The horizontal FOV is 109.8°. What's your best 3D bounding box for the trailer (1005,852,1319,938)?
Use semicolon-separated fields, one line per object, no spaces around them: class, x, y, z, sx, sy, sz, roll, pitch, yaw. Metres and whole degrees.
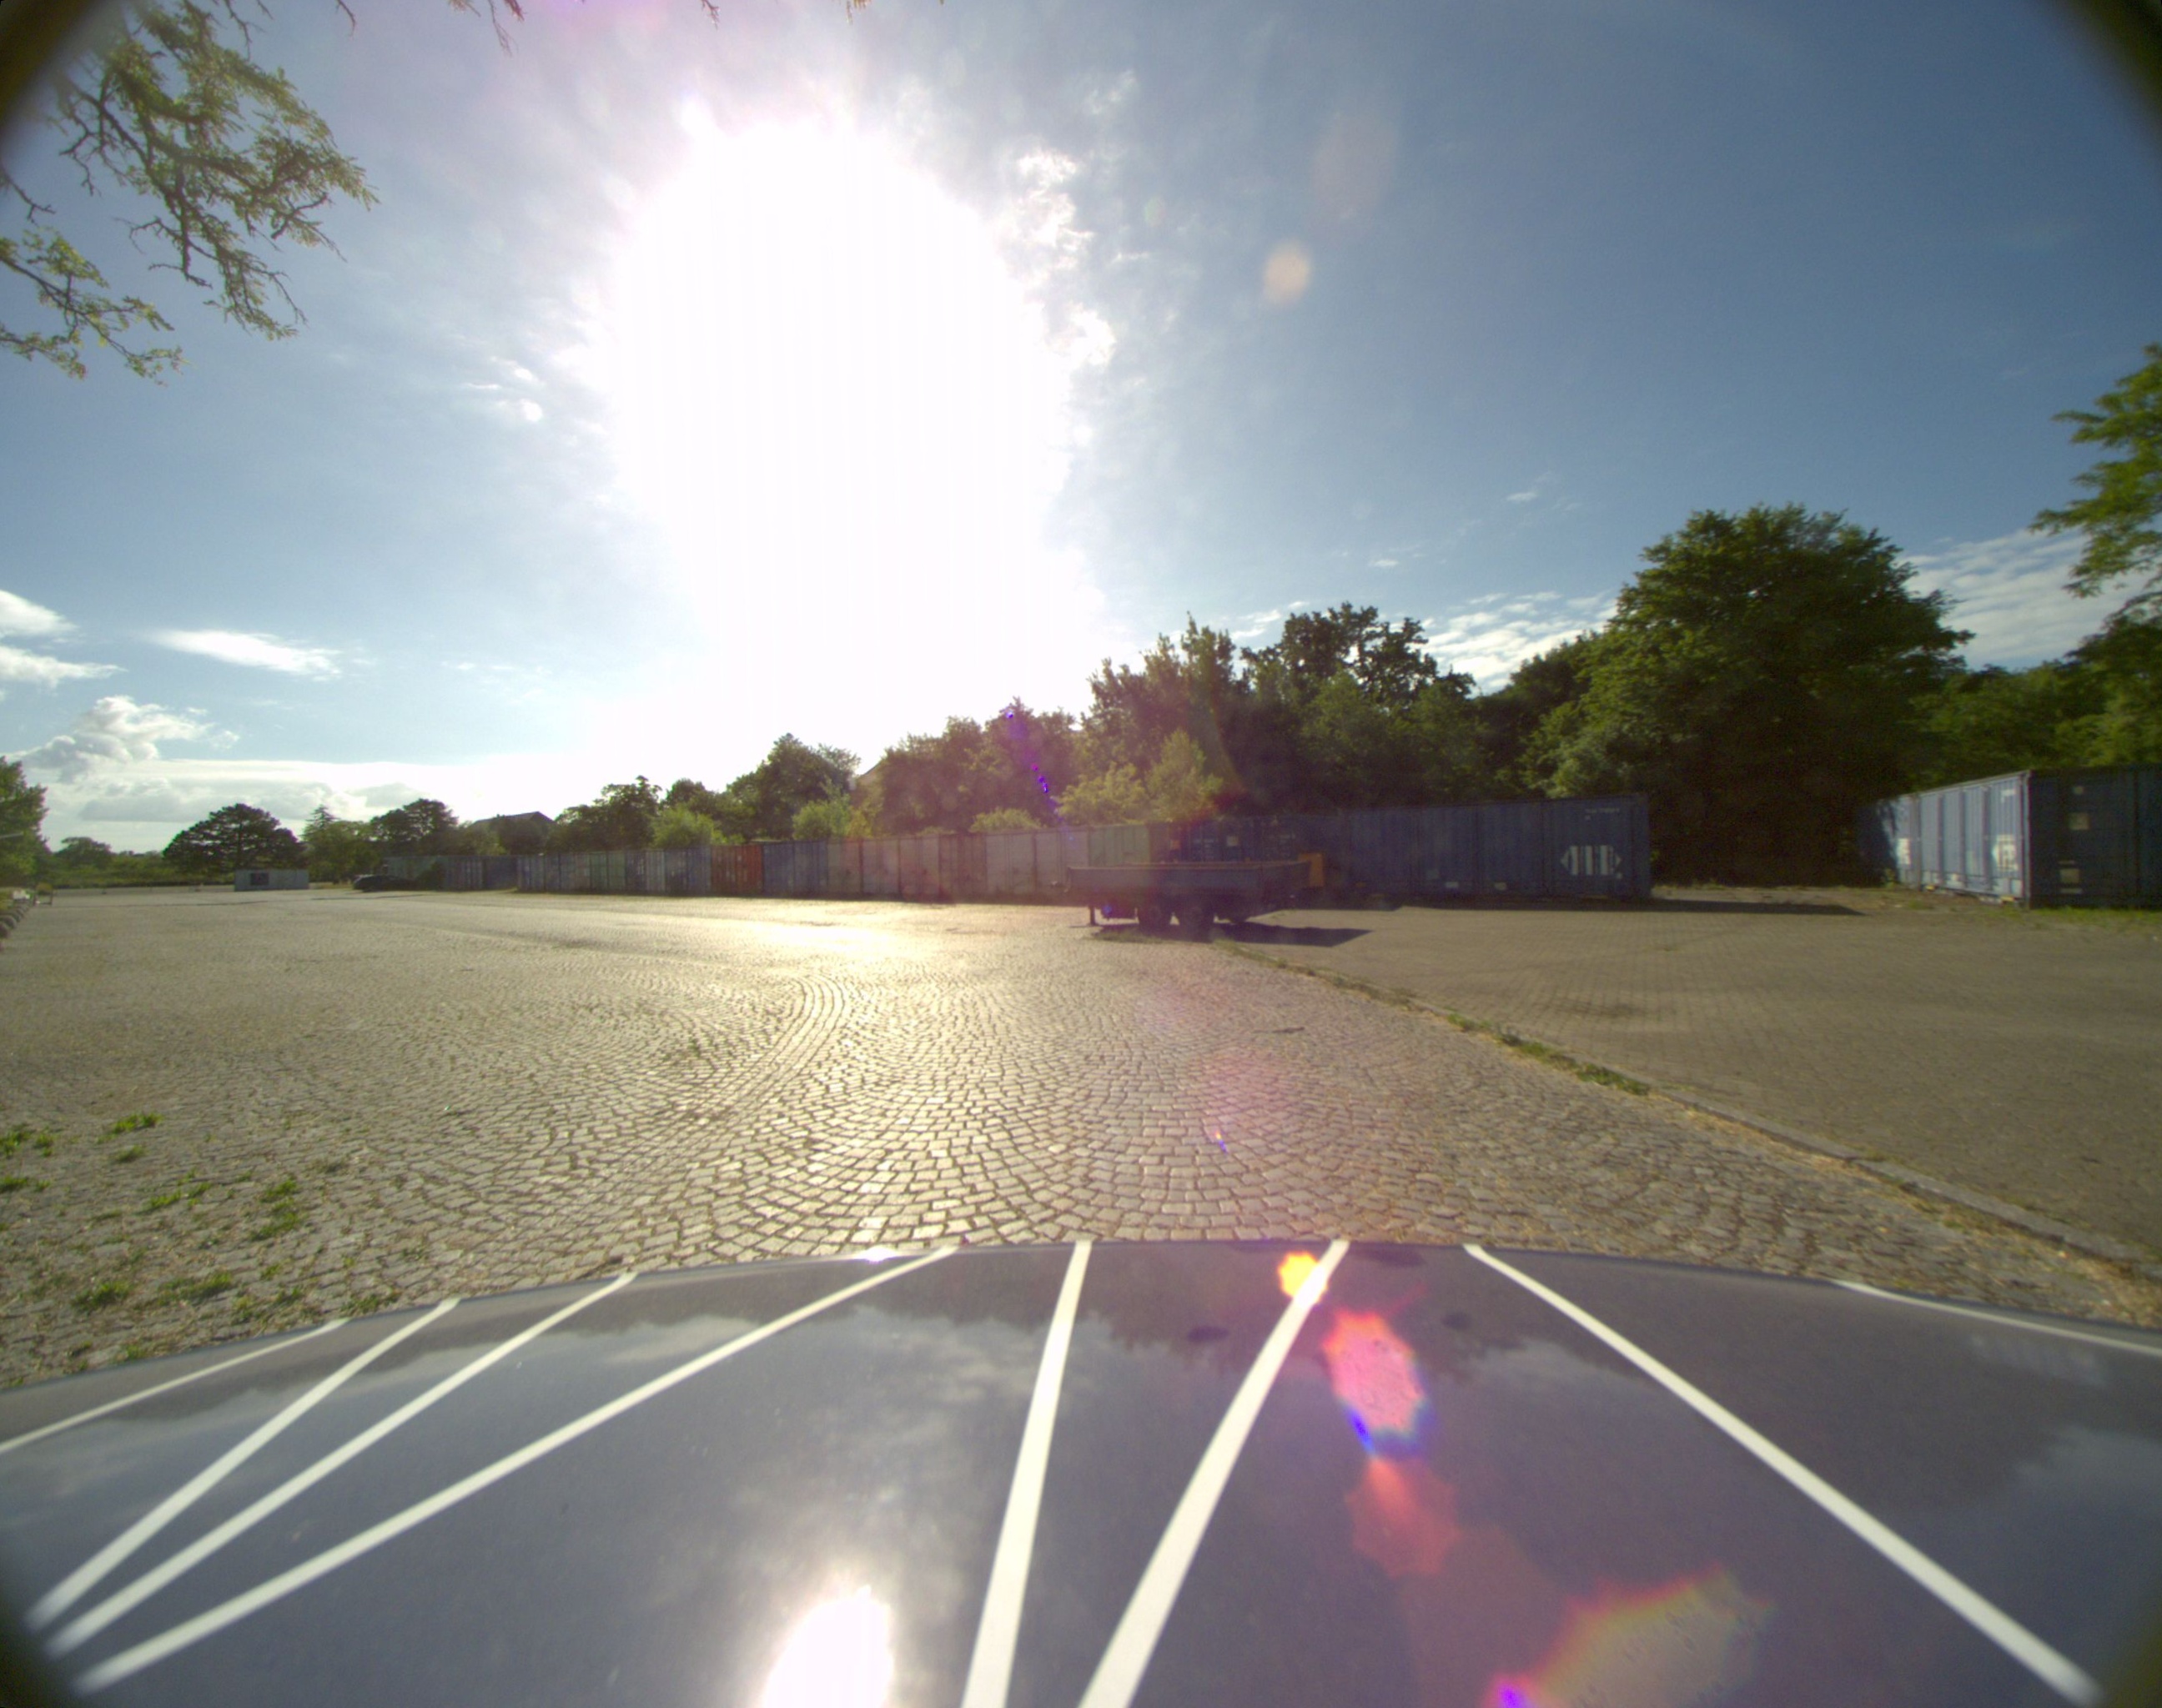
trailer;1.685;0.858;17.262;6.475;1.509;2.861;-2;1;37

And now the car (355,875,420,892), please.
car;-60.630;2.584;66.460;1.586;1.259;3.885;-1;0;35
